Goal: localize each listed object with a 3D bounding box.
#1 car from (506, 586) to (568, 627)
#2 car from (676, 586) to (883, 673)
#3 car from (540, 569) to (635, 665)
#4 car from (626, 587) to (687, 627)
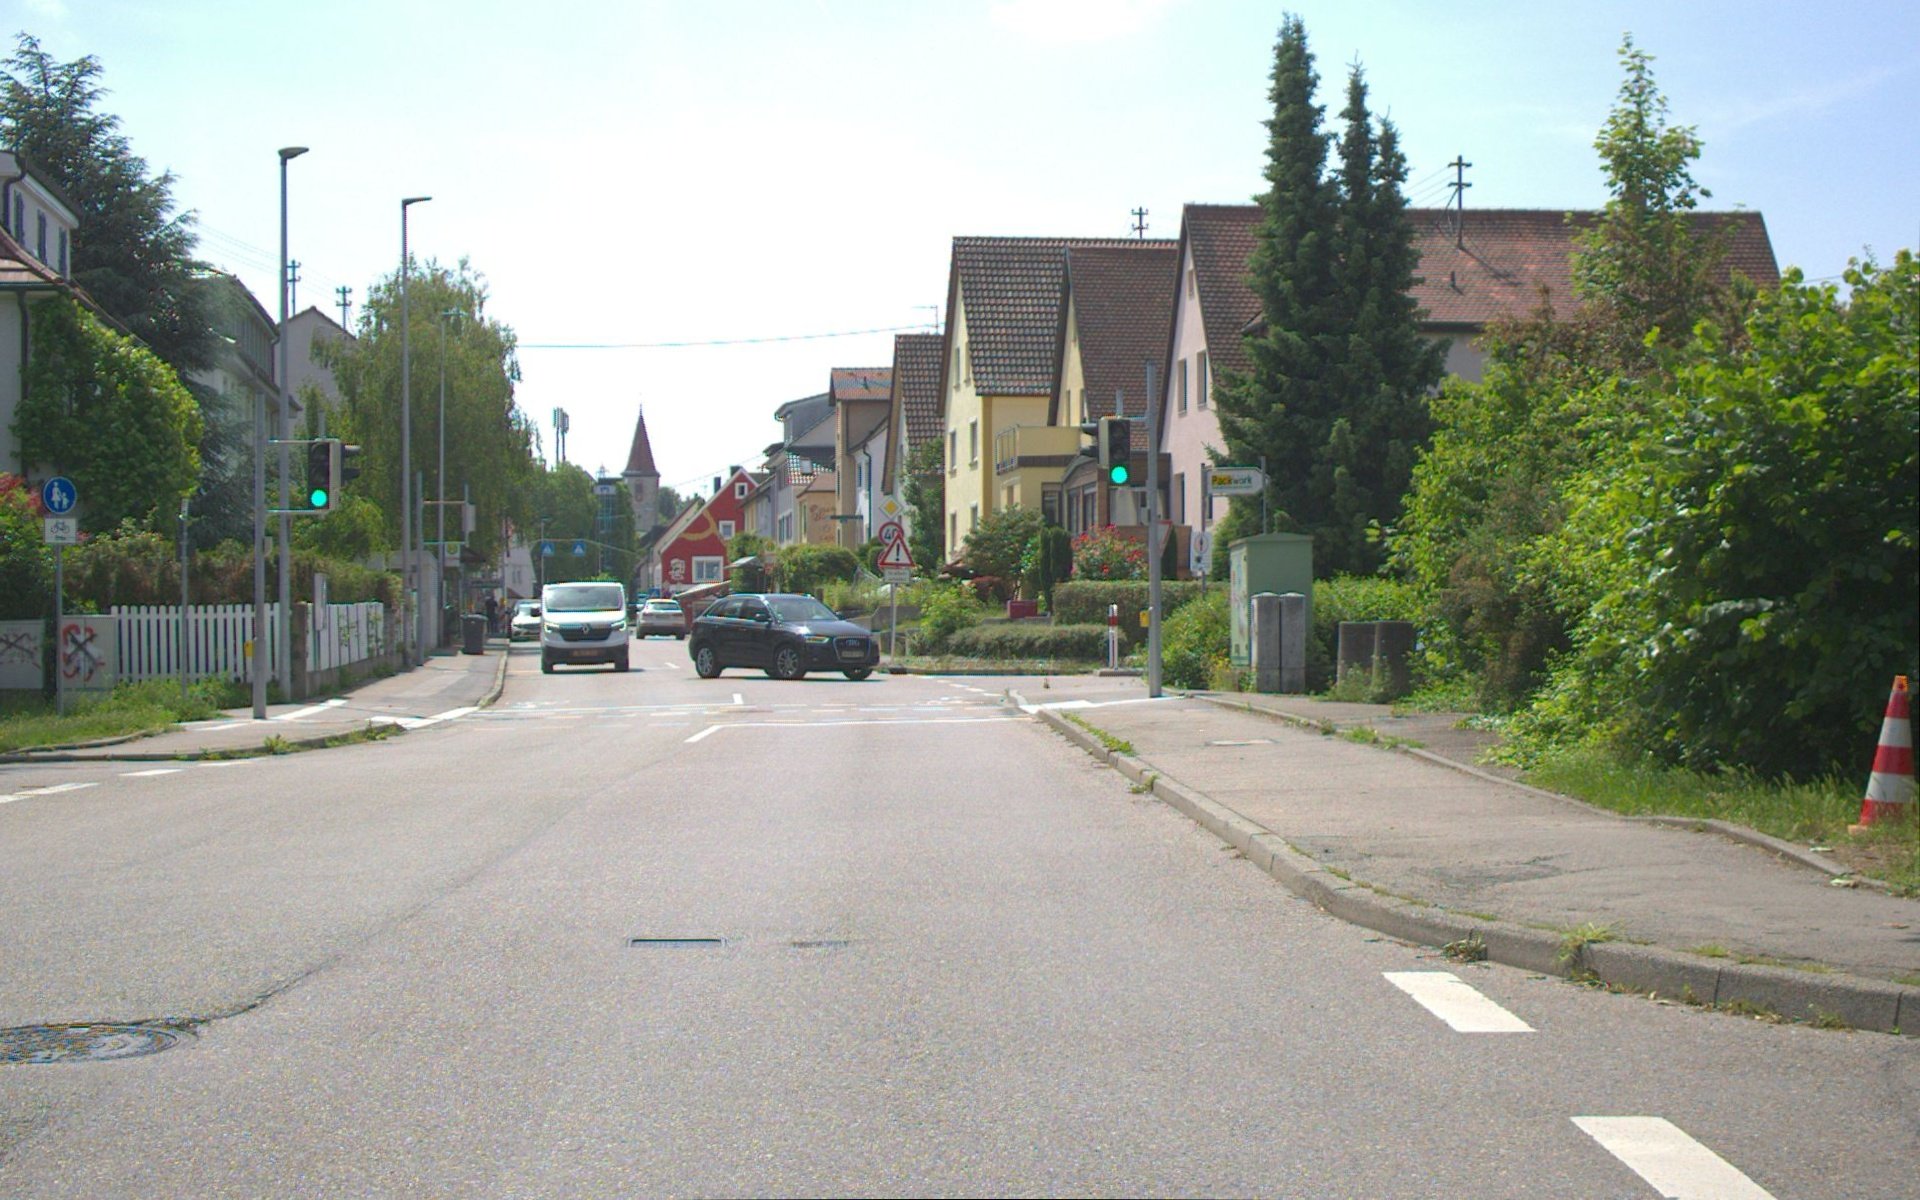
[{"bbox_3d":[-16.736,0.233,136.220,2.110,1.555,4.314,-1,0,-3],"label":"car"},{"bbox_3d":[-3.403,0.523,64.146,1.535,1.536,4.303,-1,1,-41],"label":"car"},{"bbox_3d":[-8.199,0.376,75.429,1.879,1.958,4.903,-2,0,-8],"label":"car"},{"bbox_3d":[-12.062,0.263,136.530,1.993,1.555,4.315,-1,0,-10],"label":"car"}]
